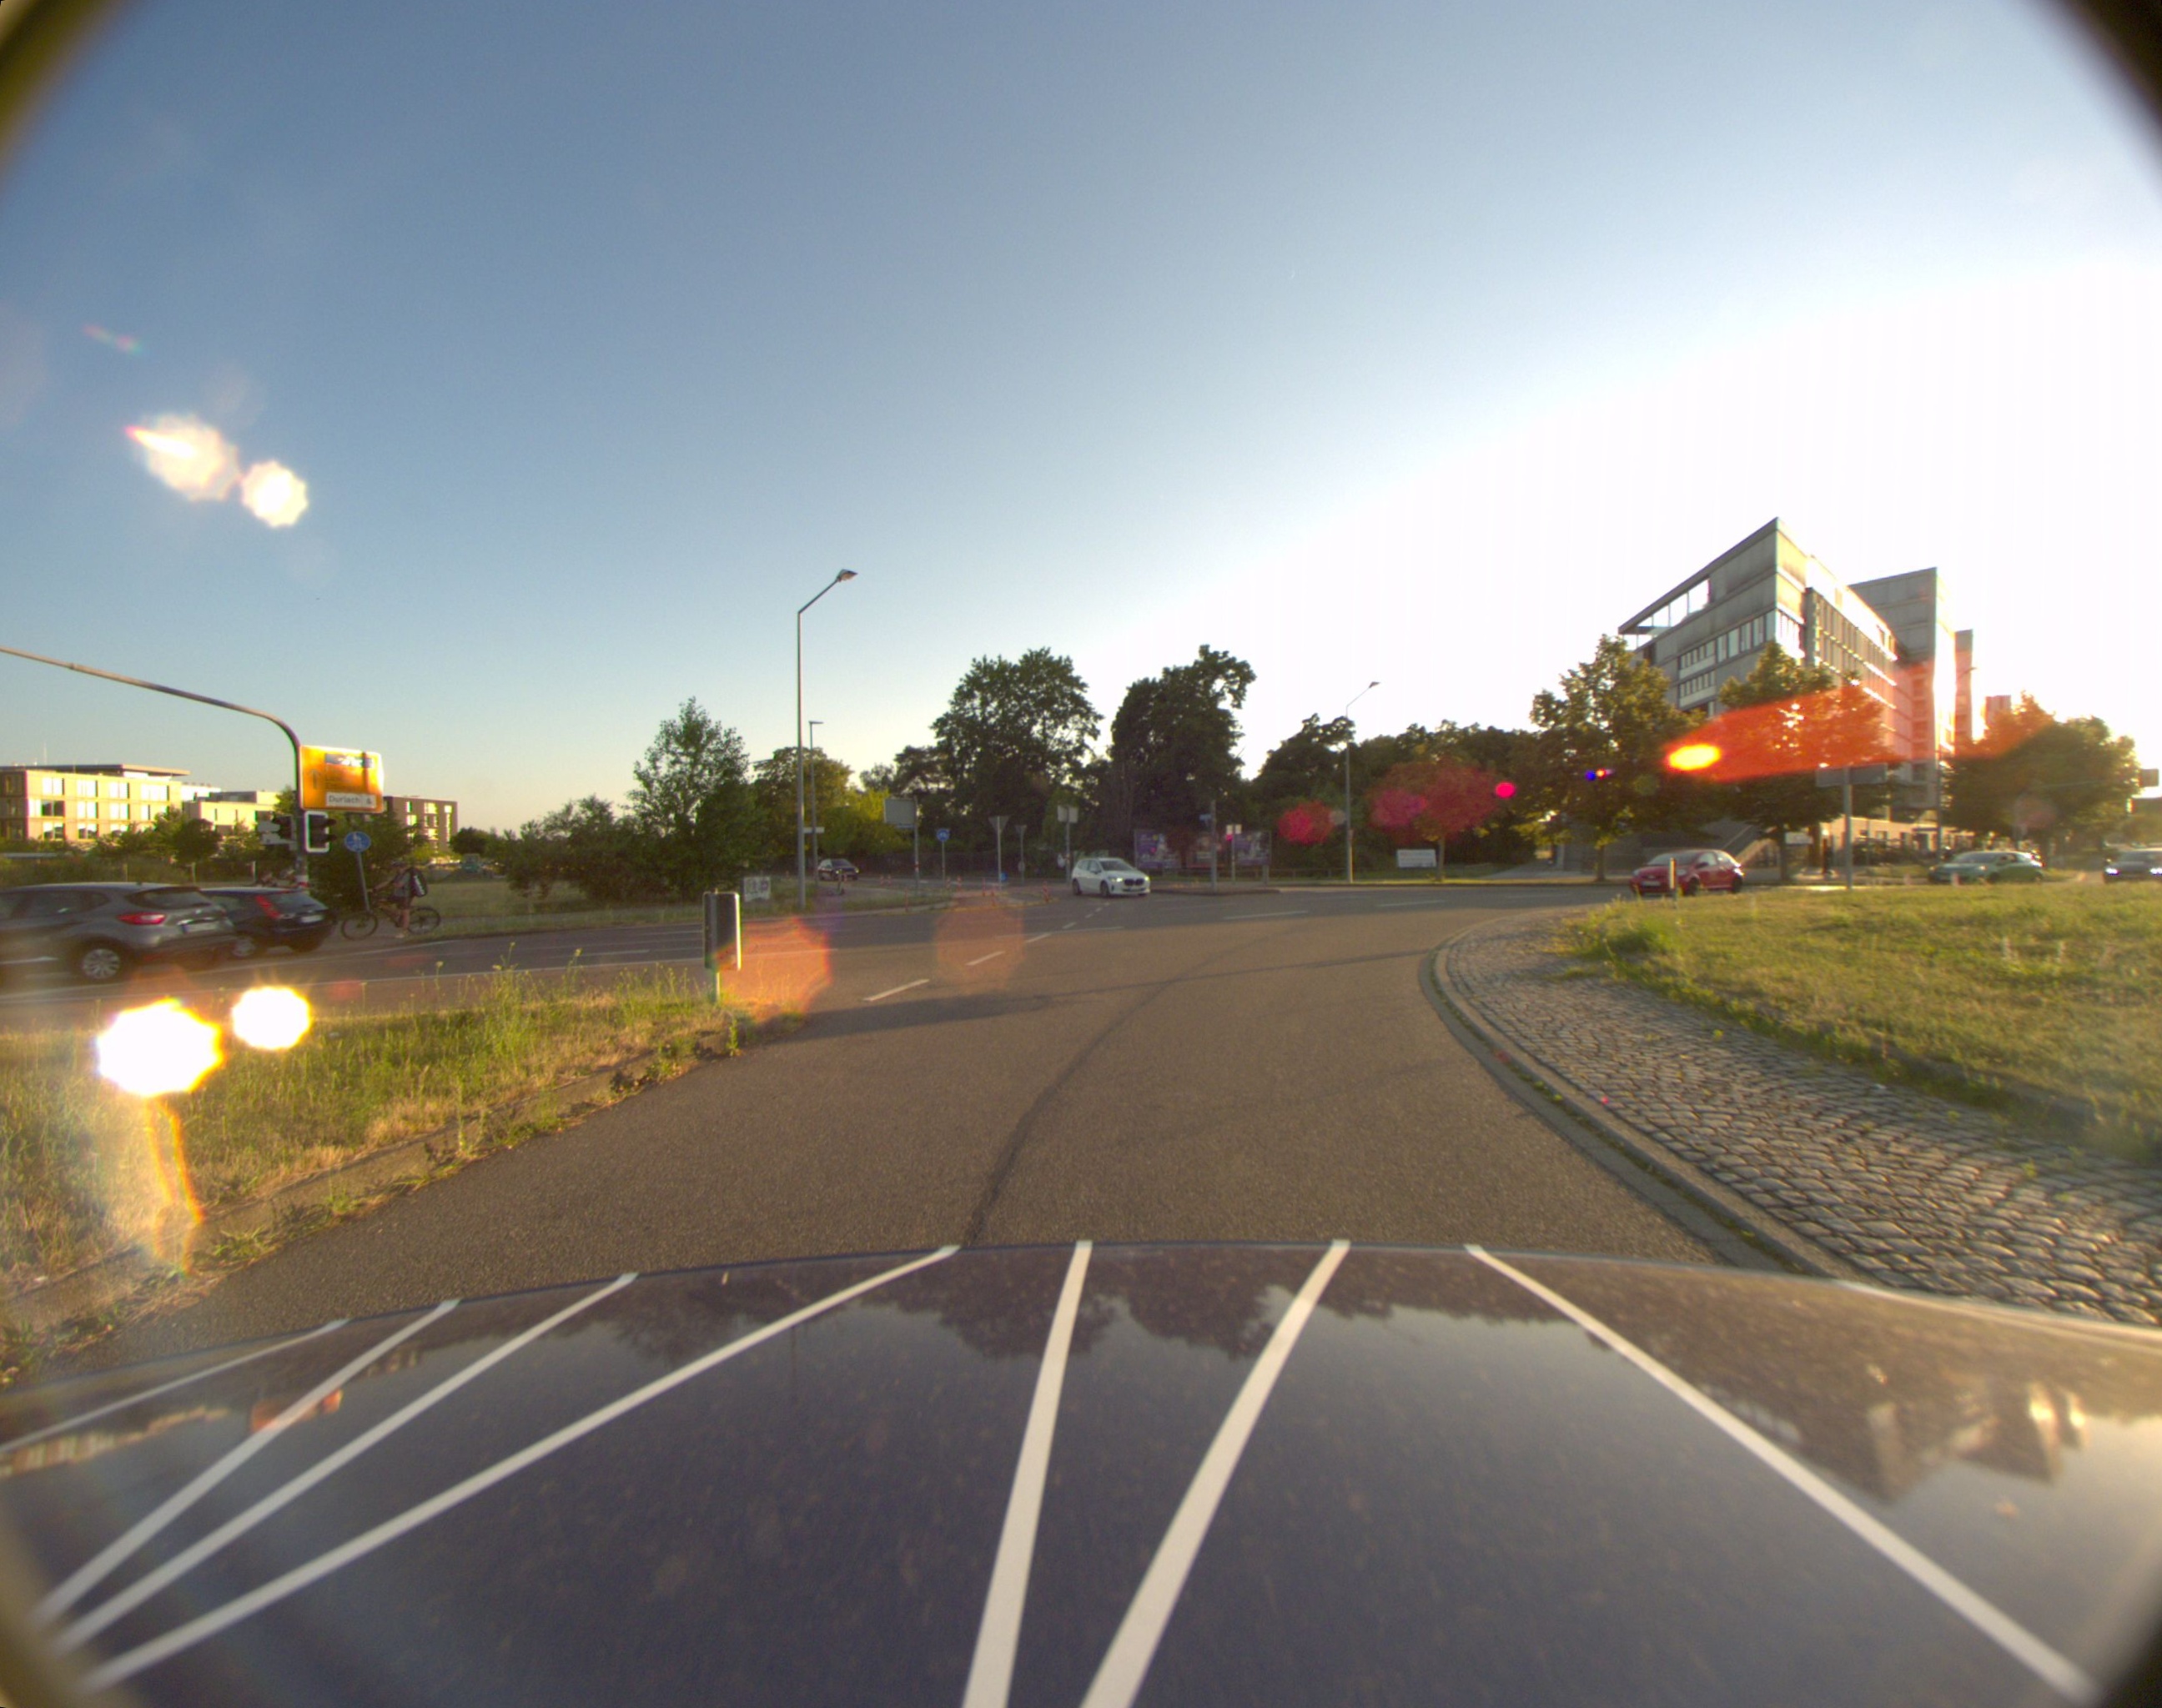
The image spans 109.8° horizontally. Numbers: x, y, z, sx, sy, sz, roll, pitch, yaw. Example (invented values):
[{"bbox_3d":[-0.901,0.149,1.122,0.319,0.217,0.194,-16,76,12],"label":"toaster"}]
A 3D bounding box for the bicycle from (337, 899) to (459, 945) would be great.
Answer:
[{"bbox_3d":[-17.159,1.680,19.161,0.708,0.957,2.149,-1,0,26],"label":"bicycle"}]

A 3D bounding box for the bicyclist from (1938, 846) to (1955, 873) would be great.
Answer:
[{"bbox_3d":[46.979,0.308,41.257,0.693,1.432,0.610,-2,1,-42],"label":"bicyclist"}]

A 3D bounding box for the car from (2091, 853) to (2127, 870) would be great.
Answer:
[{"bbox_3d":[88.219,0.653,65.192,4.133,1.371,1.746,-1,1,-35],"label":"car"}]

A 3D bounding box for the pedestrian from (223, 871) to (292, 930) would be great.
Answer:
[{"bbox_3d":[-23.260,1.302,21.485,0.993,1.581,0.925,-1,1,-24],"label":"pedestrian"}]

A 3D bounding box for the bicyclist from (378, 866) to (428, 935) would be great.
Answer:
[{"bbox_3d":[-17.143,1.166,19.221,0.723,1.680,0.690,-1,1,28],"label":"bicyclist"}]

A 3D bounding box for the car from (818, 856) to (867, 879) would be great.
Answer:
[{"bbox_3d":[-18.250,1.013,57.990,2.004,1.588,4.302,-1,1,-40],"label":"car"}]

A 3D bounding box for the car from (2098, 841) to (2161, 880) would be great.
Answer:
[{"bbox_3d":[46.904,0.245,33.176,4.333,1.568,1.731,-1,0,-18],"label":"car"}]

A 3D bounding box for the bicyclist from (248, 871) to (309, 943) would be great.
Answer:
[{"bbox_3d":[-19.328,1.258,18.314,0.724,1.680,0.690,-1,1,12],"label":"bicyclist"}]

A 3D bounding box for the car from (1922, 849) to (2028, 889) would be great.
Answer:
[{"bbox_3d":[34.700,0.558,29.478,4.005,1.412,1.686,-1,0,-25],"label":"car"}]

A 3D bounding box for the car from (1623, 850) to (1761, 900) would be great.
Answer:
[{"bbox_3d":[19.257,0.612,23.937,4.004,1.412,1.686,-1,0,-23],"label":"car"}]

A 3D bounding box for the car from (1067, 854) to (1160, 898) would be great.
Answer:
[{"bbox_3d":[1.250,0.843,31.037,2.003,1.597,4.189,-1,0,-27],"label":"car"}]

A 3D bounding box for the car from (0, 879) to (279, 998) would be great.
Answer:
[{"bbox_3d":[-16.012,1.299,12.092,4.001,1.619,1.998,-1,0,-12],"label":"car"}]

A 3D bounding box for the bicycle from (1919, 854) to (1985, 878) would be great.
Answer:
[{"bbox_3d":[47.092,0.628,41.115,0.744,1.237,2.341,-2,1,-41],"label":"bicycle"}]

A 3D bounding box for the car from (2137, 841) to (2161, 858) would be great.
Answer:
[{"bbox_3d":[119.602,-0.441,84.794,5.316,1.801,1.995,0,-2,-36],"label":"car"}]

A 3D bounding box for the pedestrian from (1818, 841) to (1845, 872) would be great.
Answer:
[{"bbox_3d":[50.104,0.169,50.762,0.776,2.002,0.998,-2,1,-11],"label":"pedestrian"}]

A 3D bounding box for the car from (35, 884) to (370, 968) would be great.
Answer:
[{"bbox_3d":[-17.815,1.409,15.649,4.198,1.419,1.998,-1,0,-8],"label":"car"}]
